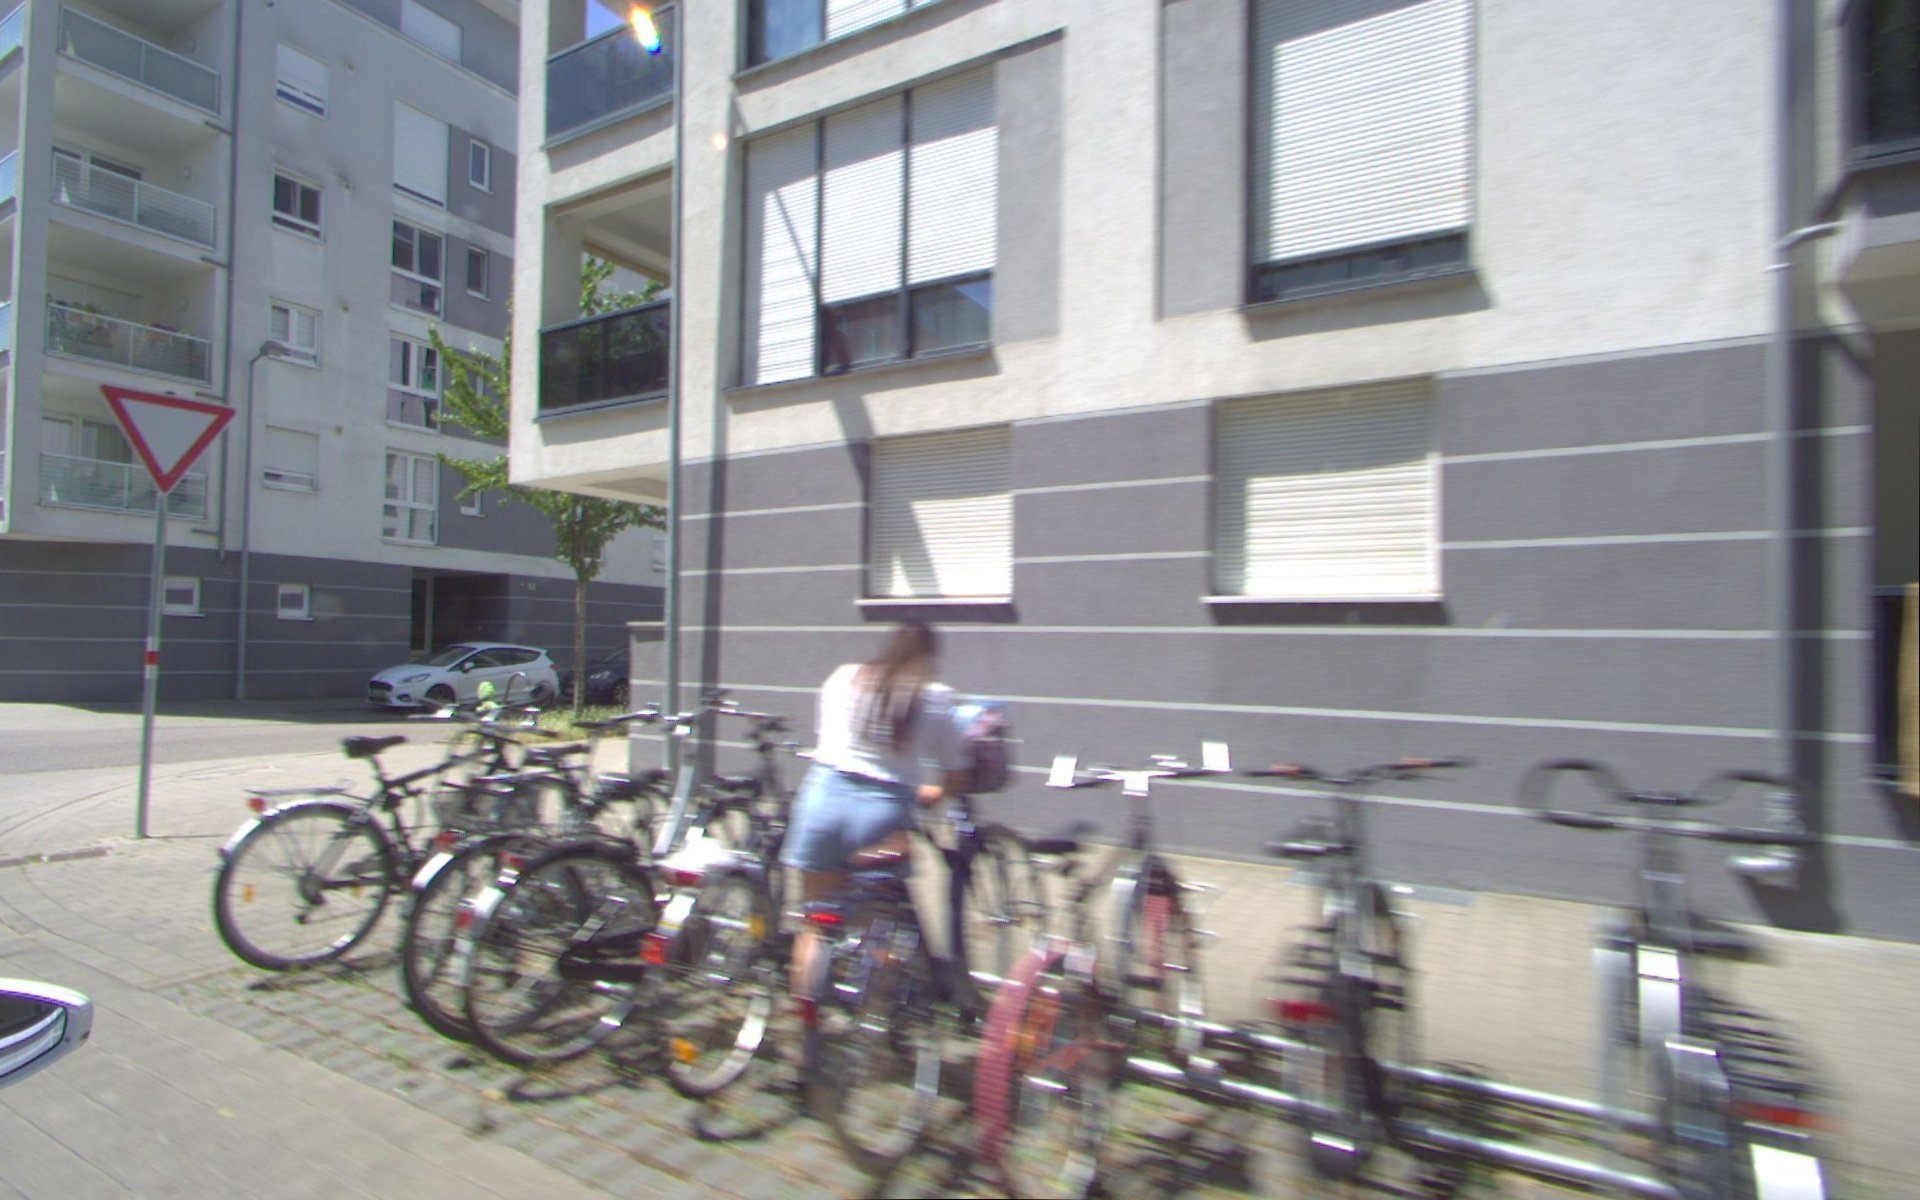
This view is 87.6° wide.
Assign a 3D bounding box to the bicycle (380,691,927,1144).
[{"bbox_3d":[-0.986,0.962,3.706,0.602,1.148,1.915,0,-2,40],"label":"bicycle"}]

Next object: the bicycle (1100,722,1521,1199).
[{"bbox_3d":[1.014,0.967,2.625,0.735,1.118,1.786,0,-2,27],"label":"bicycle"}]

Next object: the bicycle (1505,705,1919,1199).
[{"bbox_3d":[1.647,0.927,2.249,0.704,1.233,1.869,0,-2,27],"label":"bicycle"}]

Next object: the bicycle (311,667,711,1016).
[{"bbox_3d":[-1.948,0.953,4.568,0.697,1.233,1.549,0,-1,29],"label":"bicycle"}]

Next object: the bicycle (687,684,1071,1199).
[{"bbox_3d":[-0.115,0.950,3.340,0.453,1.233,1.925,0,-2,22],"label":"bicycle"}]

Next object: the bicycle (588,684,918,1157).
[{"bbox_3d":[-0.611,0.937,3.631,0.452,1.163,1.839,0,-2,12],"label":"bicycle"}]

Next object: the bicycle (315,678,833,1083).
[{"bbox_3d":[-1.443,0.956,4.103,0.631,1.194,1.915,0,-2,40],"label":"bicycle"}]

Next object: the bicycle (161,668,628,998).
[{"bbox_3d":[-2.600,0.965,4.841,0.678,1.208,1.855,0,-2,34],"label":"bicycle"}]

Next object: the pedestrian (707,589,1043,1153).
[{"bbox_3d":[-0.218,0.756,3.411,0.676,1.534,1.180,0,-1,22],"label":"pedestrian"}]

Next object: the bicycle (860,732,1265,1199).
[{"bbox_3d":[0.458,1.021,3.026,0.550,1.048,1.923,0,-2,27],"label":"bicycle"}]

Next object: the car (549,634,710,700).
[{"bbox_3d":[-8.519,1.720,26.091,1.702,1.577,3.788,0,-3,31],"label":"car"}]

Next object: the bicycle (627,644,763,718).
[{"bbox_3d":[-4.771,1.450,18.077,2.212,1.253,0.783,1,-2,4],"label":"bicycle"}]

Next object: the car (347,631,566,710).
[{"bbox_3d":[-10.989,1.510,22.138,1.728,1.489,3.984,3,-1,30],"label":"car"}]
